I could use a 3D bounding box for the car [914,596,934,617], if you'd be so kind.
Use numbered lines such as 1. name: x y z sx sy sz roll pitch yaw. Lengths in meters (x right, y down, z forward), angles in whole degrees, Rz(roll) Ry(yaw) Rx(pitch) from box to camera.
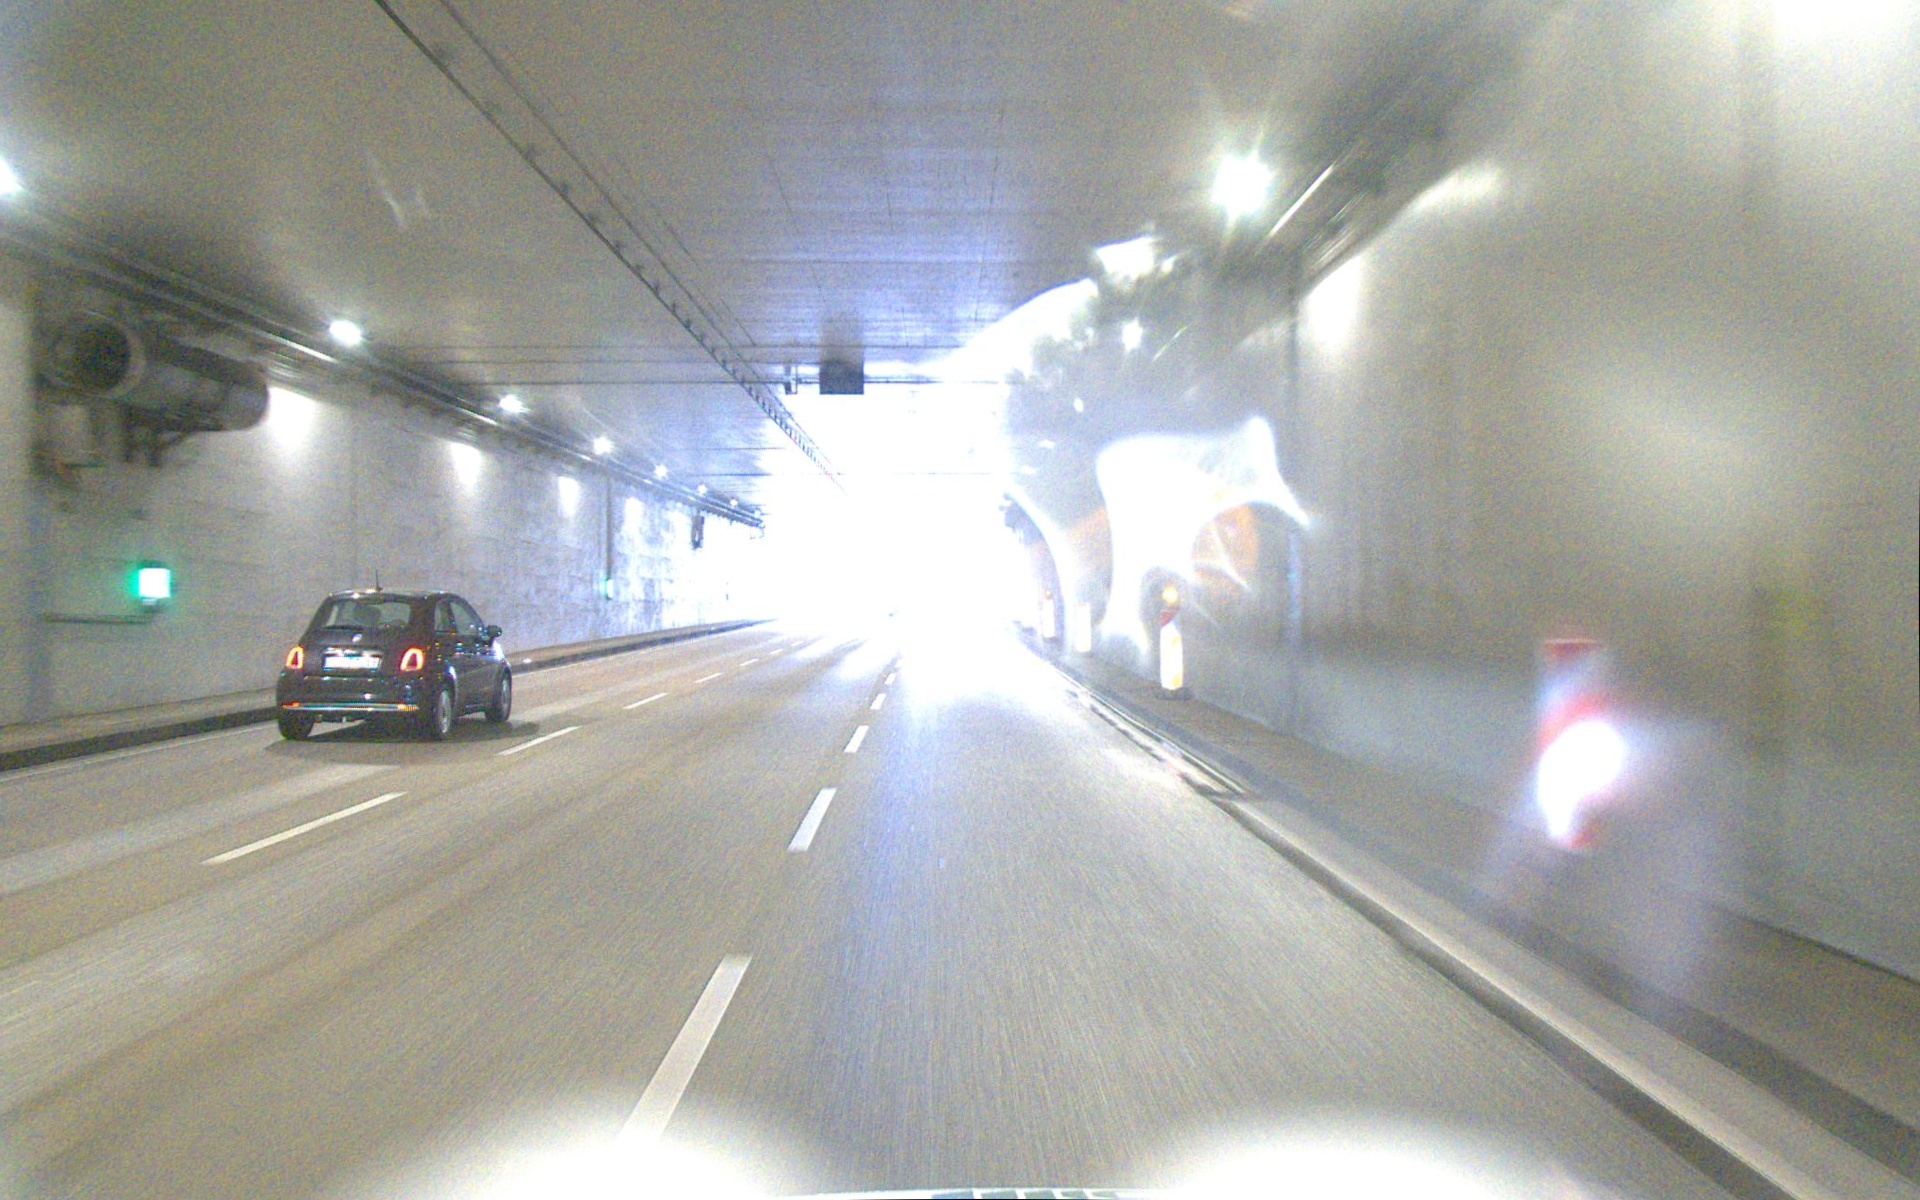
1. car: -3.532 0.647 162.078 1.953 2.049 3.998 1 -1 -1

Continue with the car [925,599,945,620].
1. car: -2.593 1.001 170.374 1.953 2.049 3.998 1 -1 -1

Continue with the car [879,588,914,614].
1. car: -3.691 0.056 95.586 1.954 1.473 4.311 0 0 -4

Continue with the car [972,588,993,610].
1. car: 2.265 -0.089 166.281 1.953 2.049 3.999 1 -1 -1

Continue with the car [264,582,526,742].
1. car: -5.827 0.584 17.477 1.579 1.480 3.572 1 0 -1
